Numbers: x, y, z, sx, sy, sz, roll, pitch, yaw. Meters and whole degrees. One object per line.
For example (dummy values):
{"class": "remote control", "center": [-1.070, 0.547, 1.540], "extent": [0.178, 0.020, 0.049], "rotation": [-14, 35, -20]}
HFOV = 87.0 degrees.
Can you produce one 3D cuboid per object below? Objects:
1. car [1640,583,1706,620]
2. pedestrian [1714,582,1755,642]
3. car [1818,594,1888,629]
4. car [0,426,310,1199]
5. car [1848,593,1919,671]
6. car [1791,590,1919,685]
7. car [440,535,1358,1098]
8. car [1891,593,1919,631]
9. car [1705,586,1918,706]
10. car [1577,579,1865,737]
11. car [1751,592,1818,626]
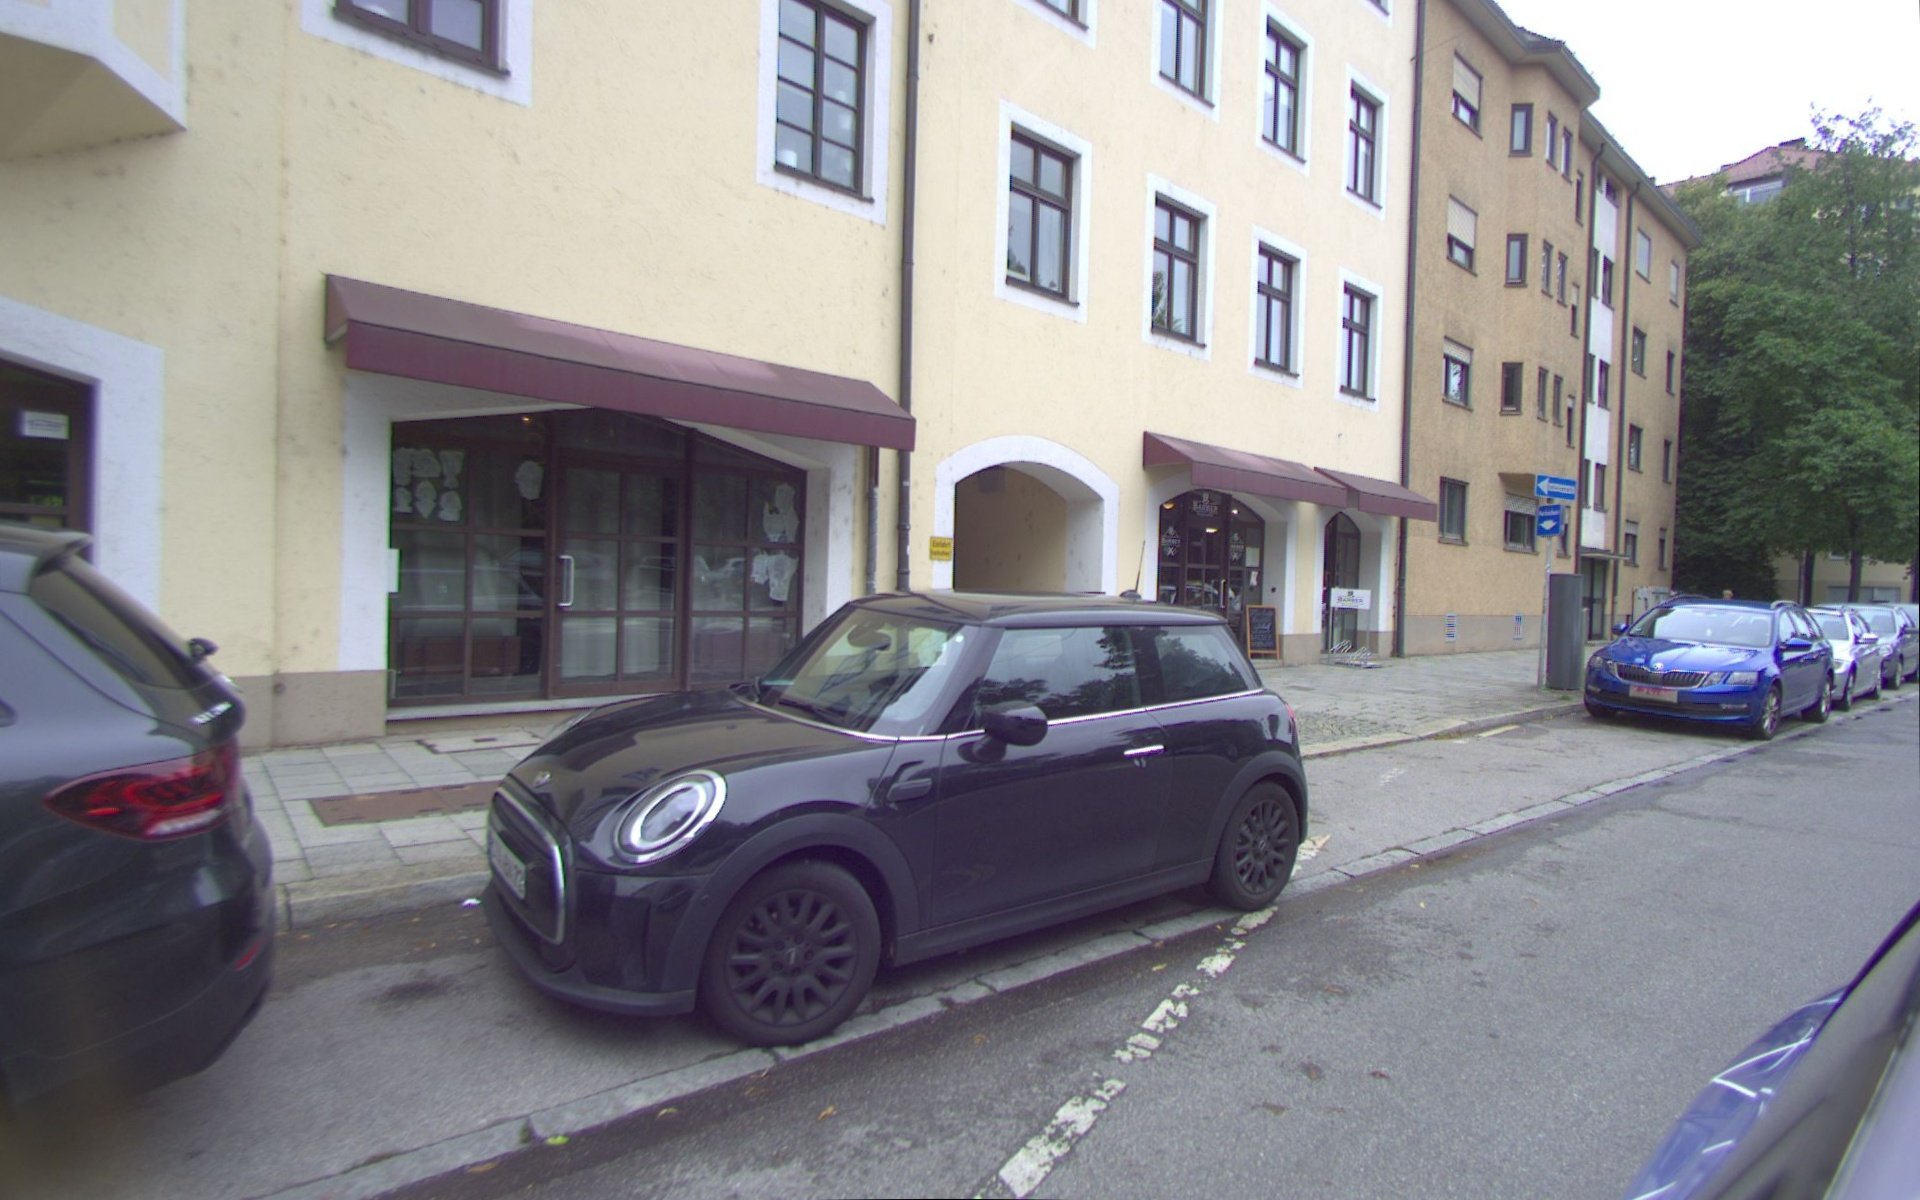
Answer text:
{"class": "car", "center": [36.266, 0.053, 51.454], "extent": [4.173, 1.773, 1.914], "rotation": [0, 2, -43]}
{"class": "pedestrian", "center": [21.785, 0.317, 28.468], "extent": [0.963, 1.644, 0.672], "rotation": [0, 2, -39]}
{"class": "car", "center": [40.763, 0.493, 46.186], "extent": [4.175, 1.485, 2.050], "rotation": [0, 2, -44]}
{"class": "car", "center": [-3.789, 0.462, 1.455], "extent": [4.622, 1.700, 1.761], "rotation": [0, 3, -40]}
{"class": "car", "center": [20.572, 0.655, 21.716], "extent": [3.752, 1.514, 1.632], "rotation": [0, 3, -40]}
{"class": "car", "center": [16.910, 0.631, 18.727], "extent": [3.719, 1.514, 1.632], "rotation": [0, 3, -40]}
{"class": "car", "center": [-0.095, 0.555, 4.558], "extent": [3.751, 1.514, 1.762], "rotation": [1, 3, -37]}
{"class": "car", "center": [42.045, 0.509, 44.157], "extent": [4.175, 1.584, 1.822], "rotation": [0, 2, -44]}
{"class": "car", "center": [13.048, 0.608, 15.413], "extent": [4.355, 1.514, 1.695], "rotation": [0, 3, -40]}
{"class": "car", "center": [9.324, 0.578, 12.265], "extent": [4.407, 1.514, 1.761], "rotation": [0, 3, -40]}
{"class": "car", "center": [38.869, 0.415, 47.682], "extent": [4.175, 1.485, 1.914], "rotation": [0, 2, -44]}
